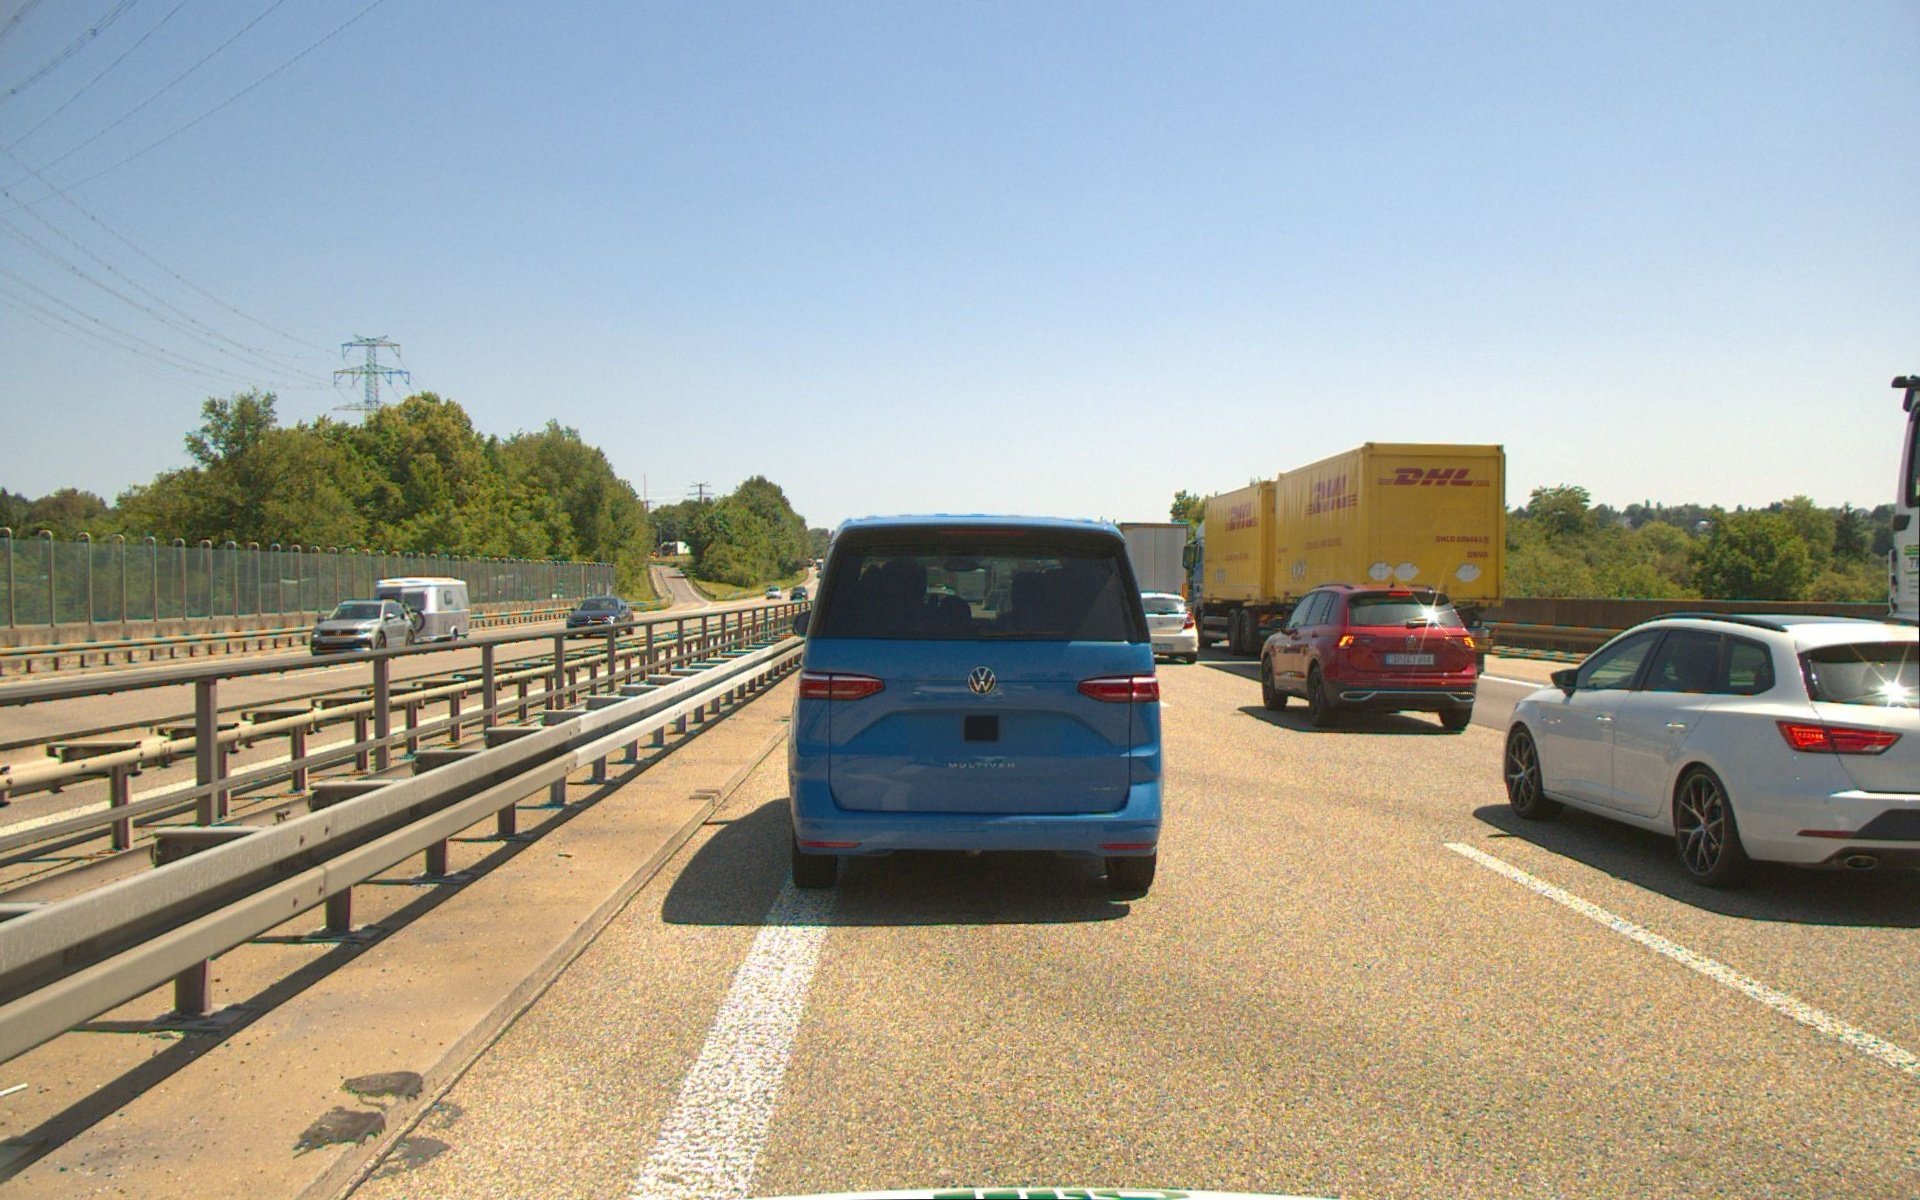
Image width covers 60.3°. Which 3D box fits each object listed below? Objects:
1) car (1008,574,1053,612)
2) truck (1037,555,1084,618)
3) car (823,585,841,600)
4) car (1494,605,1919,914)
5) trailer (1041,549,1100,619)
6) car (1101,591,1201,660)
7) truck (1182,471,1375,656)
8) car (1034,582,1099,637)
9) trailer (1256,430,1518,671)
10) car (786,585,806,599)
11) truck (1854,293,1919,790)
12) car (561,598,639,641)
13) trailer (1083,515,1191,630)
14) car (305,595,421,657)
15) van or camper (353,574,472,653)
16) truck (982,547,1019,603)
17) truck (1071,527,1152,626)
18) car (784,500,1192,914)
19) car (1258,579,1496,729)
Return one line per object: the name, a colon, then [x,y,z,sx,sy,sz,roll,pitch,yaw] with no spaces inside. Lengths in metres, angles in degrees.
car: [3.032,-0.315,71.731,1.680,1.567,3.820,-1,0,-1]
truck: [6.173,-0.802,102.505,2.320,3.787,6.031,1,0,-2]
car: [-14.132,-0.852,182.834,1.803,1.556,3.557,-2,0,-1]
car: [4.797,0.760,9.860,1.745,1.411,4.186,0,0,-2]
trailer: [6.360,-0.839,96.904,2.331,3.809,11.184,1,0,-2]
car: [4.198,0.528,36.800,1.800,1.438,4.000,0,0,1]
truck: [7.896,-0.805,42.548,2.667,4.125,10.332,1,0,-1]
car: [3.255,0.306,51.000,1.680,1.614,3.820,1,-1,-1]
trailer: [8.139,-0.828,32.907,2.647,4.094,8.927,1,0,-2]
car: [-17.563,-0.815,177.574,1.764,1.410,4.262,1,0,-1]
truck: [8.636,-0.359,7.669,2.793,3.665,10.765,1,1,-2]
car: [-13.054,0.701,60.259,1.818,1.422,4.674,-3,0,-1]
trailer: [6.965,-0.995,66.905,2.699,4.219,11.307,1,0,-2]
car: [-16.851,0.715,46.898,1.819,1.572,4.199,-3,0,-2]
van or camper: [-17.039,0.419,51.797,1.953,2.250,5.535,-3,0,-2]
truck: [3.891,-2.355,161.981,2.777,5.128,11.140,1,0,-3]
truck: [6.721,-0.989,74.226,2.713,4.167,6.981,1,0,-2]
car: [0.090,0.479,9.509,1.844,1.869,3.999,0,0,-1]
car: [4.962,0.577,20.236,1.813,1.636,3.999,1,0,-1]
